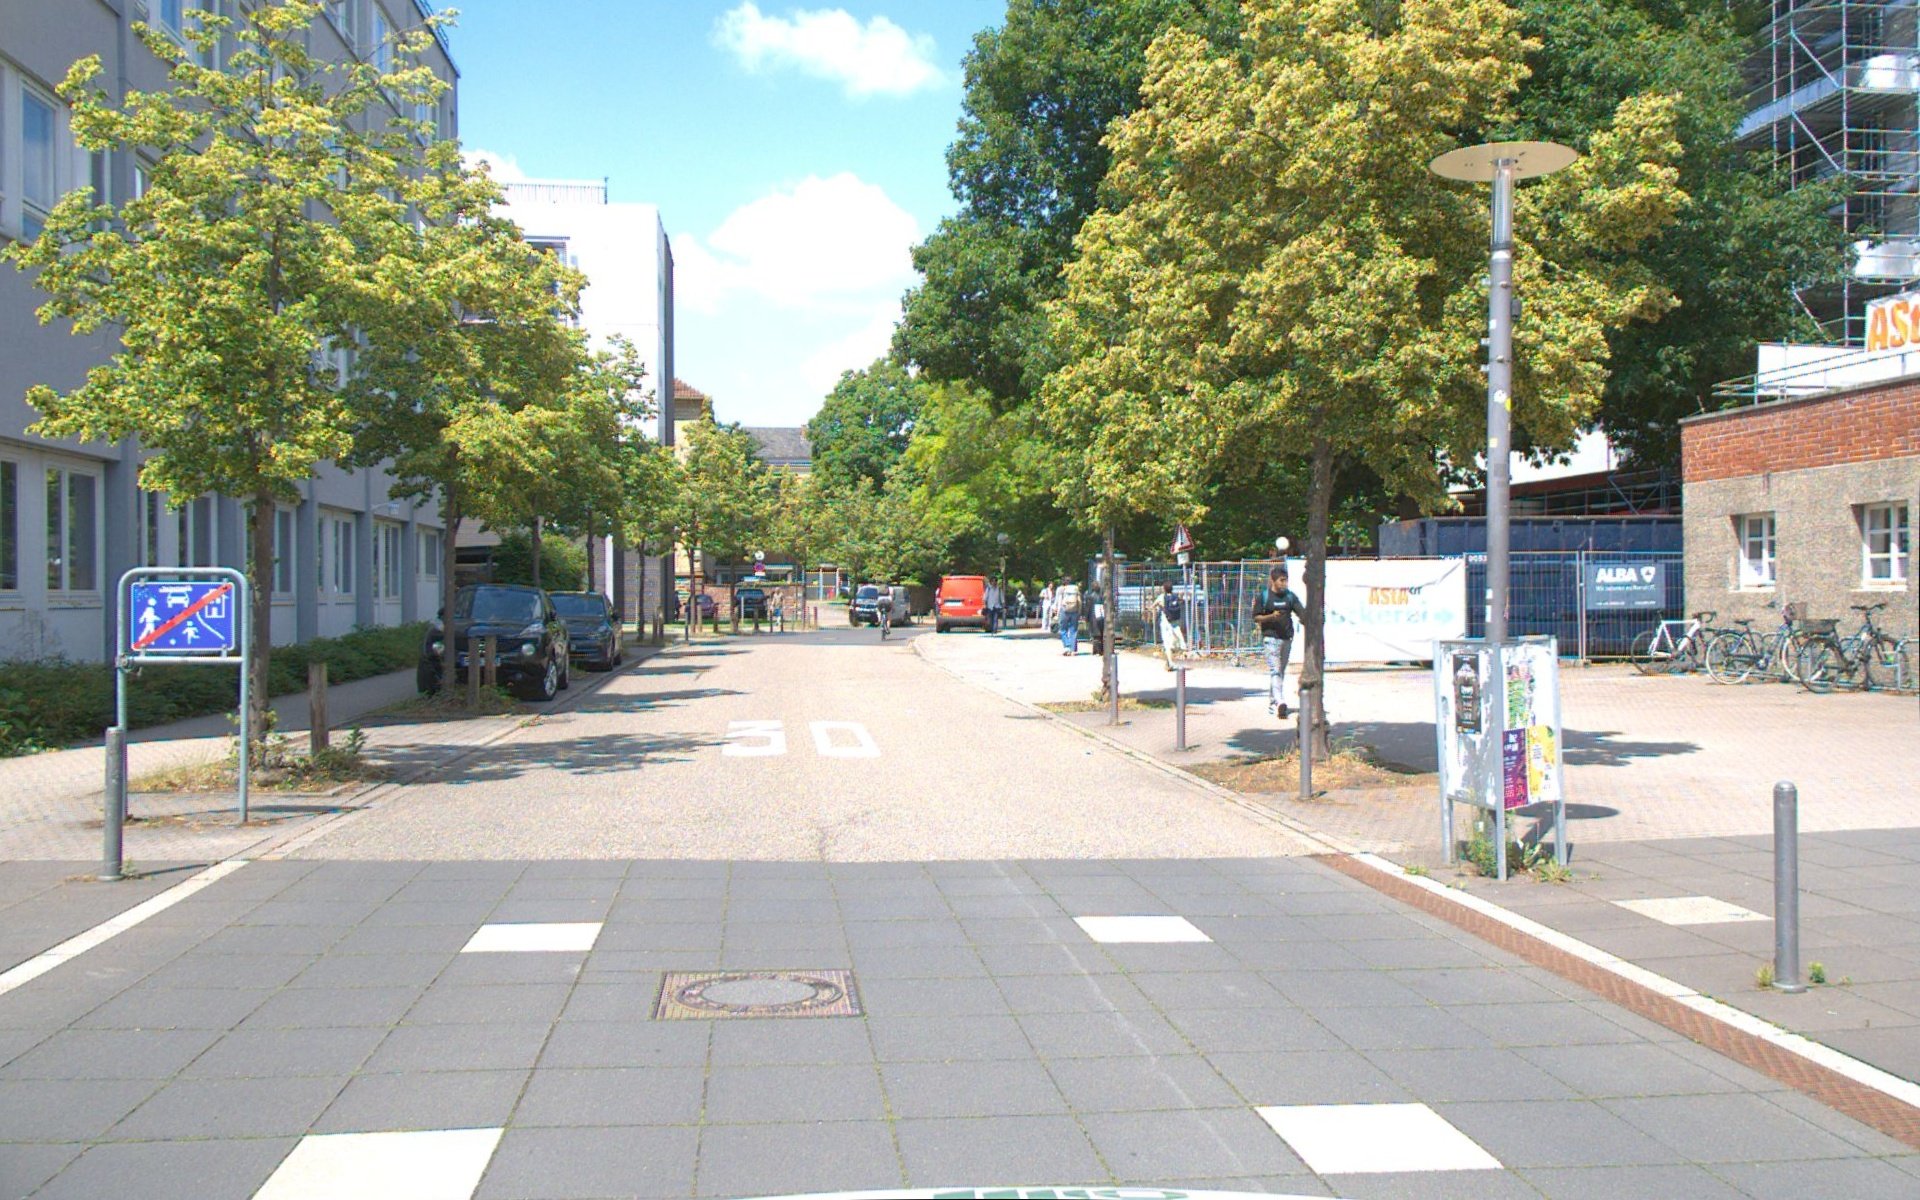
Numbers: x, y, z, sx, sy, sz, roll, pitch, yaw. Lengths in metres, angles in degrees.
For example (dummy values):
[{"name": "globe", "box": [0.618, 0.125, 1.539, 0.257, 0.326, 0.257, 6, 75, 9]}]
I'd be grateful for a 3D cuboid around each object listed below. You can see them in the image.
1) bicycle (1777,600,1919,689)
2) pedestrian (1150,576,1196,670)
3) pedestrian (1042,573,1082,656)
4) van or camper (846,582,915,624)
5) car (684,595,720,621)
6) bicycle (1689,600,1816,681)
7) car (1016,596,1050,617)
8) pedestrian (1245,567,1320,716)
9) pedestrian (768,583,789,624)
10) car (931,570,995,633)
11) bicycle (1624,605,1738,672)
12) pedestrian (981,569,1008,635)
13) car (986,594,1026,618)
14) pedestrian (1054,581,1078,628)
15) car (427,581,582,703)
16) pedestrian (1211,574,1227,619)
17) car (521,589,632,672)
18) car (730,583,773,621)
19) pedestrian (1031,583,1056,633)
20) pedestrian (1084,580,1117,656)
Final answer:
[{"name": "bicycle", "box": [11.667, 0.579, 21.664, 1.771, 1.129, 0.447, -1, 0, -7]}, {"name": "pedestrian", "box": [3.912, 0.421, 30.466, 0.636, 1.695, 0.903, -1, 0, -5]}, {"name": "pedestrian", "box": [2.229, 0.323, 36.326, 0.832, 1.795, 0.716, -1, 0, 2]}, {"name": "van or camper", "box": [-3.820, 0.131, 80.606, 1.912, 1.957, 5.425, 1, 0, 13]}, {"name": "car", "box": [-13.638, 0.425, 87.553, 1.783, 1.347, 3.761, 0, 0, -8]}, {"name": "bicycle", "box": [11.348, 0.578, 23.695, 1.669, 1.129, 0.447, -1, 0, -7]}, {"name": "car", "box": [5.045, 0.439, 113.798, 1.581, 1.412, 4.003, 0, 0, 14]}, {"name": "pedestrian", "box": [3.818, 0.479, 19.617, 0.630, 1.726, 0.790, 0, 0, -10]}, {"name": "pedestrian", "box": [-8.007, 0.139, 73.001, 0.572, 1.795, 0.911, -1, 0, 22]}, {"name": "car", "box": [0.151, 0.036, 54.114, 1.810, 1.924, 4.892, -1, 0, 3]}, {"name": "bicycle", "box": [11.356, 0.596, 26.066, 1.639, 1.021, 0.447, -1, 0, -7]}, {"name": "pedestrian", "box": [0.968, 0.057, 46.227, 0.680, 1.812, 0.787, -1, 0, 7]}, {"name": "car", "box": [2.980, 0.374, 106.437, 1.722, 1.548, 4.115, 0, 0, 14]}, {"name": "pedestrian", "box": [3.911, 0.160, 61.021, 0.739, 1.740, 0.555, 0, 0, -43]}, {"name": "car", "box": [-6.483, 0.539, 23.911, 1.665, 1.591, 4.060, 0, 0, -9]}, {"name": "pedestrian", "box": [10.671, -0.143, 68.169, 0.532, 1.869, 0.761, 0, 0, 0]}, {"name": "car", "box": [-7.371, 0.548, 32.131, 1.745, 1.486, 4.250, 1, 0, -9]}, {"name": "car", "box": [-11.140, 0.090, 87.976, 2.135, 1.959, 5.175, 0, 0, -9]}, {"name": "pedestrian", "box": [3.127, 0.302, 61.865, 0.718, 1.853, 0.620, 0, 0, -43]}, {"name": "pedestrian", "box": [3.062, 0.396, 36.142, 0.654, 1.628, 0.985, -1, 0, 3]}]
